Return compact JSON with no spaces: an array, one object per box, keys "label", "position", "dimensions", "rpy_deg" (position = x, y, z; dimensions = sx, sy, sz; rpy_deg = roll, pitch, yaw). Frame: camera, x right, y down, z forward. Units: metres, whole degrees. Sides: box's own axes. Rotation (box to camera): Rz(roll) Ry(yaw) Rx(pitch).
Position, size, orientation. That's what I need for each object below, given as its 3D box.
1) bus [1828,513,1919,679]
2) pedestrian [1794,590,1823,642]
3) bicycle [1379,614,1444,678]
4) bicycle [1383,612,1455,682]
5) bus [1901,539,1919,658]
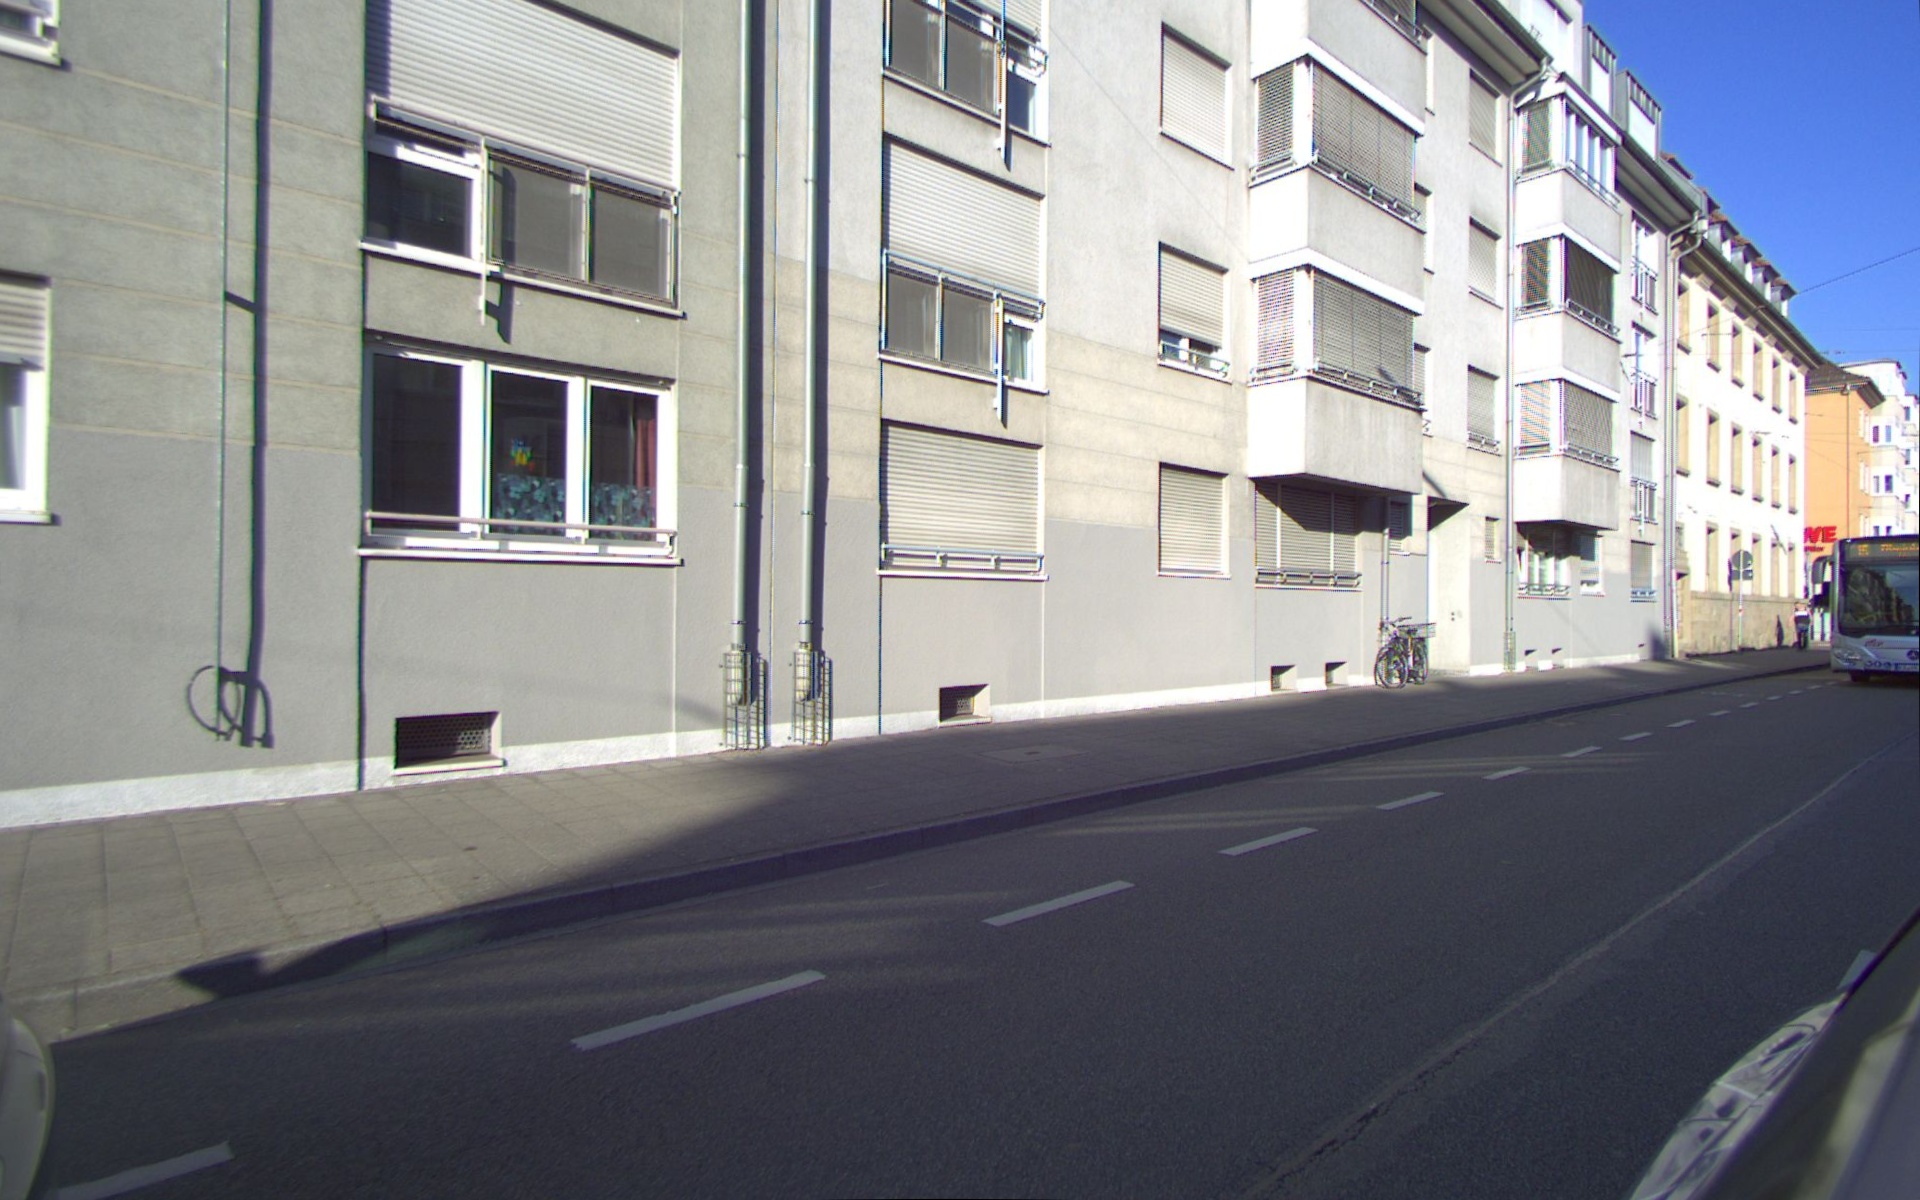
[{"label":"bus","position":[21.900,-0.067,22.305],"dimensions":[10.415,3.116,2.729],"rpy_deg":[0,-1,-41]},{"label":"pedestrian","position":[29.749,0.556,35.468],"dimensions":[0.549,1.753,0.648],"rpy_deg":[1,1,-41]},{"label":"bicycle","position":[7.459,0.736,16.674],"dimensions":[1.700,0.983,0.279],"rpy_deg":[0,2,-42]},{"label":"bicycle","position":[7.282,0.720,16.031],"dimensions":[1.700,1.044,0.360],"rpy_deg":[0,2,-42]},{"label":"bus","position":[29.730,-0.040,29.193],"dimensions":[10.415,3.116,2.709],"rpy_deg":[0,-1,-41]}]
